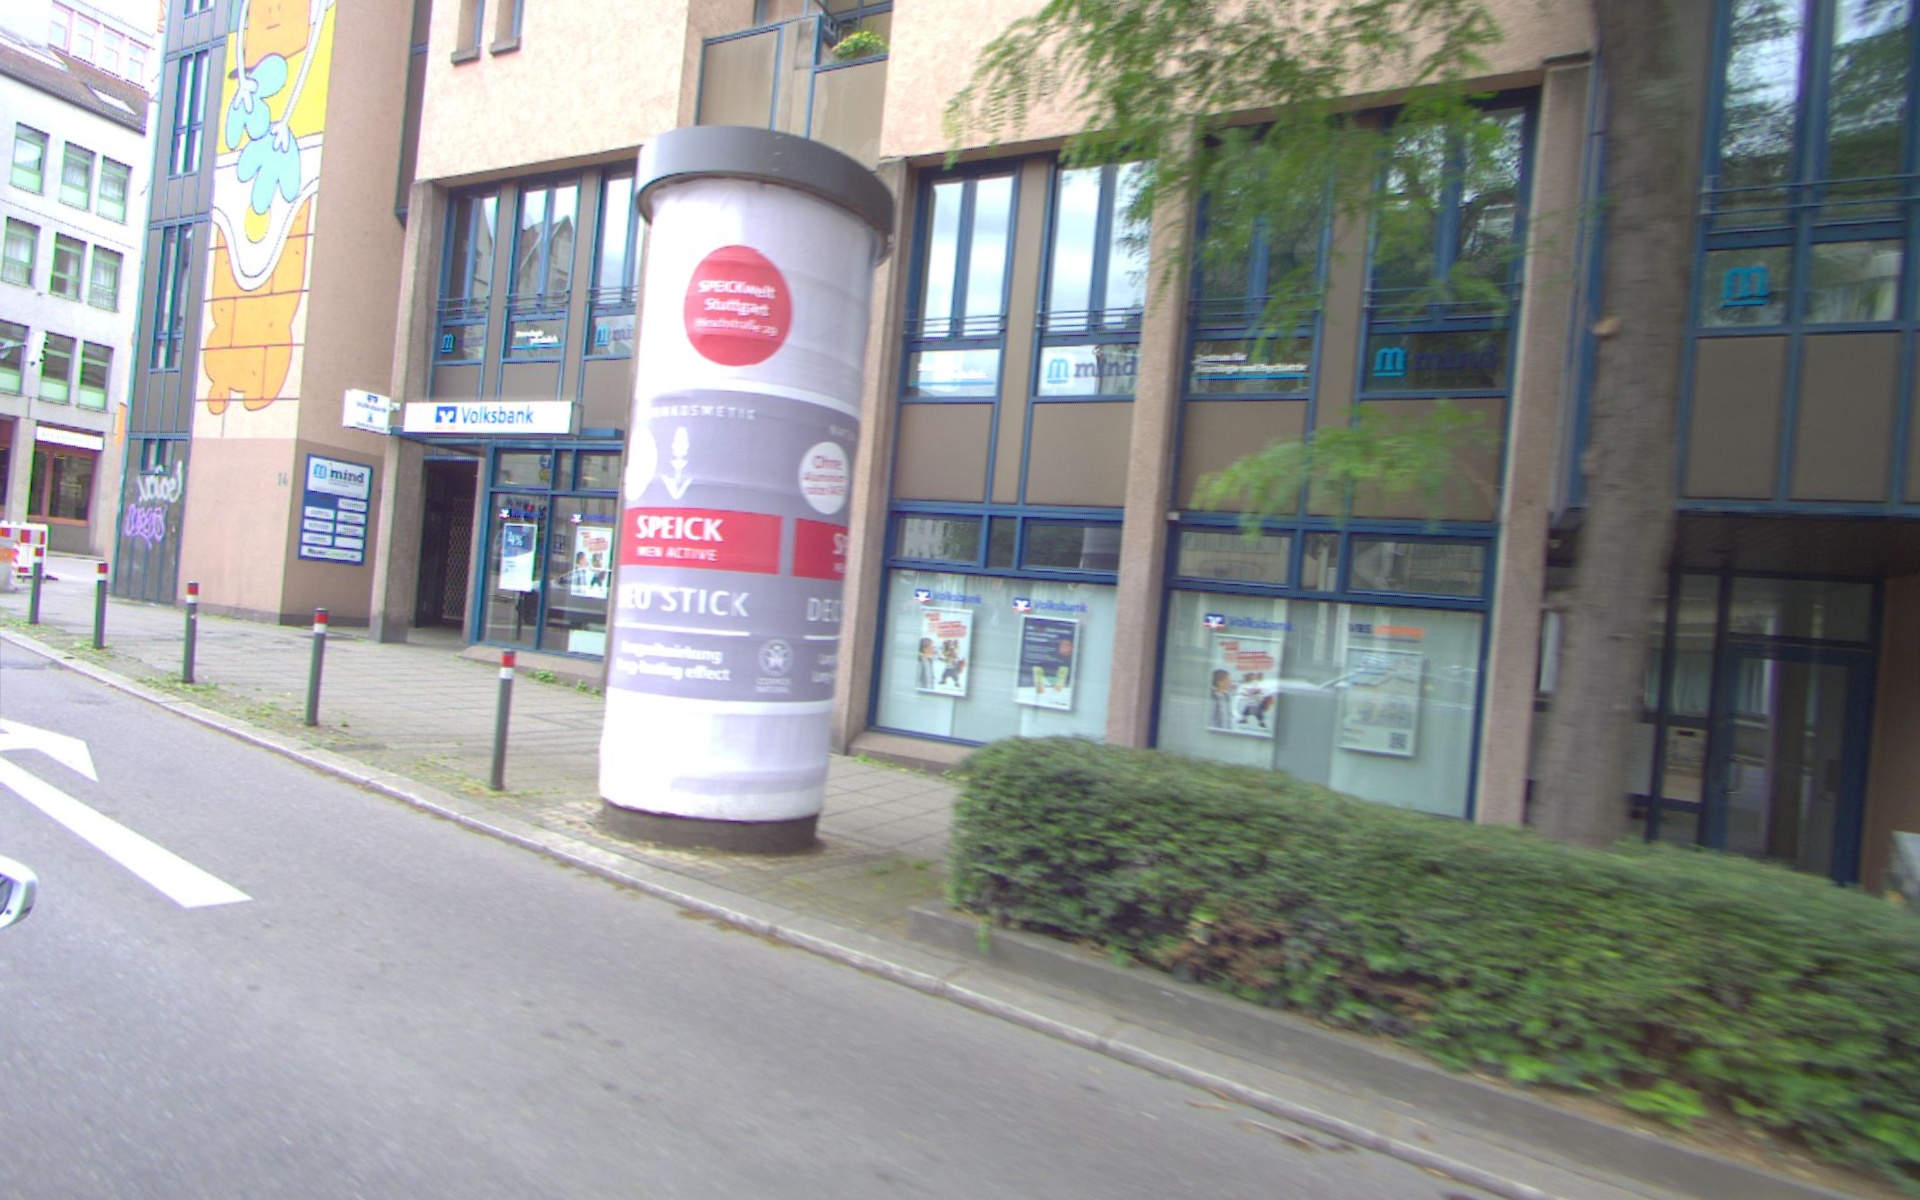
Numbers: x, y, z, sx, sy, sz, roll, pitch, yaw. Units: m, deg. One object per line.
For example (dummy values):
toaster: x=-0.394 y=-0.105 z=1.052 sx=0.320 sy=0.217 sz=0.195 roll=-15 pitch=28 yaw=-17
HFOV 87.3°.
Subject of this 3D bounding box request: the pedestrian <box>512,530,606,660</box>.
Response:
pedestrian: x=-5.773 y=-0.069 z=14.499 sx=0.781 sy=1.742 sz=0.771 roll=7 pitch=0 yaw=31
